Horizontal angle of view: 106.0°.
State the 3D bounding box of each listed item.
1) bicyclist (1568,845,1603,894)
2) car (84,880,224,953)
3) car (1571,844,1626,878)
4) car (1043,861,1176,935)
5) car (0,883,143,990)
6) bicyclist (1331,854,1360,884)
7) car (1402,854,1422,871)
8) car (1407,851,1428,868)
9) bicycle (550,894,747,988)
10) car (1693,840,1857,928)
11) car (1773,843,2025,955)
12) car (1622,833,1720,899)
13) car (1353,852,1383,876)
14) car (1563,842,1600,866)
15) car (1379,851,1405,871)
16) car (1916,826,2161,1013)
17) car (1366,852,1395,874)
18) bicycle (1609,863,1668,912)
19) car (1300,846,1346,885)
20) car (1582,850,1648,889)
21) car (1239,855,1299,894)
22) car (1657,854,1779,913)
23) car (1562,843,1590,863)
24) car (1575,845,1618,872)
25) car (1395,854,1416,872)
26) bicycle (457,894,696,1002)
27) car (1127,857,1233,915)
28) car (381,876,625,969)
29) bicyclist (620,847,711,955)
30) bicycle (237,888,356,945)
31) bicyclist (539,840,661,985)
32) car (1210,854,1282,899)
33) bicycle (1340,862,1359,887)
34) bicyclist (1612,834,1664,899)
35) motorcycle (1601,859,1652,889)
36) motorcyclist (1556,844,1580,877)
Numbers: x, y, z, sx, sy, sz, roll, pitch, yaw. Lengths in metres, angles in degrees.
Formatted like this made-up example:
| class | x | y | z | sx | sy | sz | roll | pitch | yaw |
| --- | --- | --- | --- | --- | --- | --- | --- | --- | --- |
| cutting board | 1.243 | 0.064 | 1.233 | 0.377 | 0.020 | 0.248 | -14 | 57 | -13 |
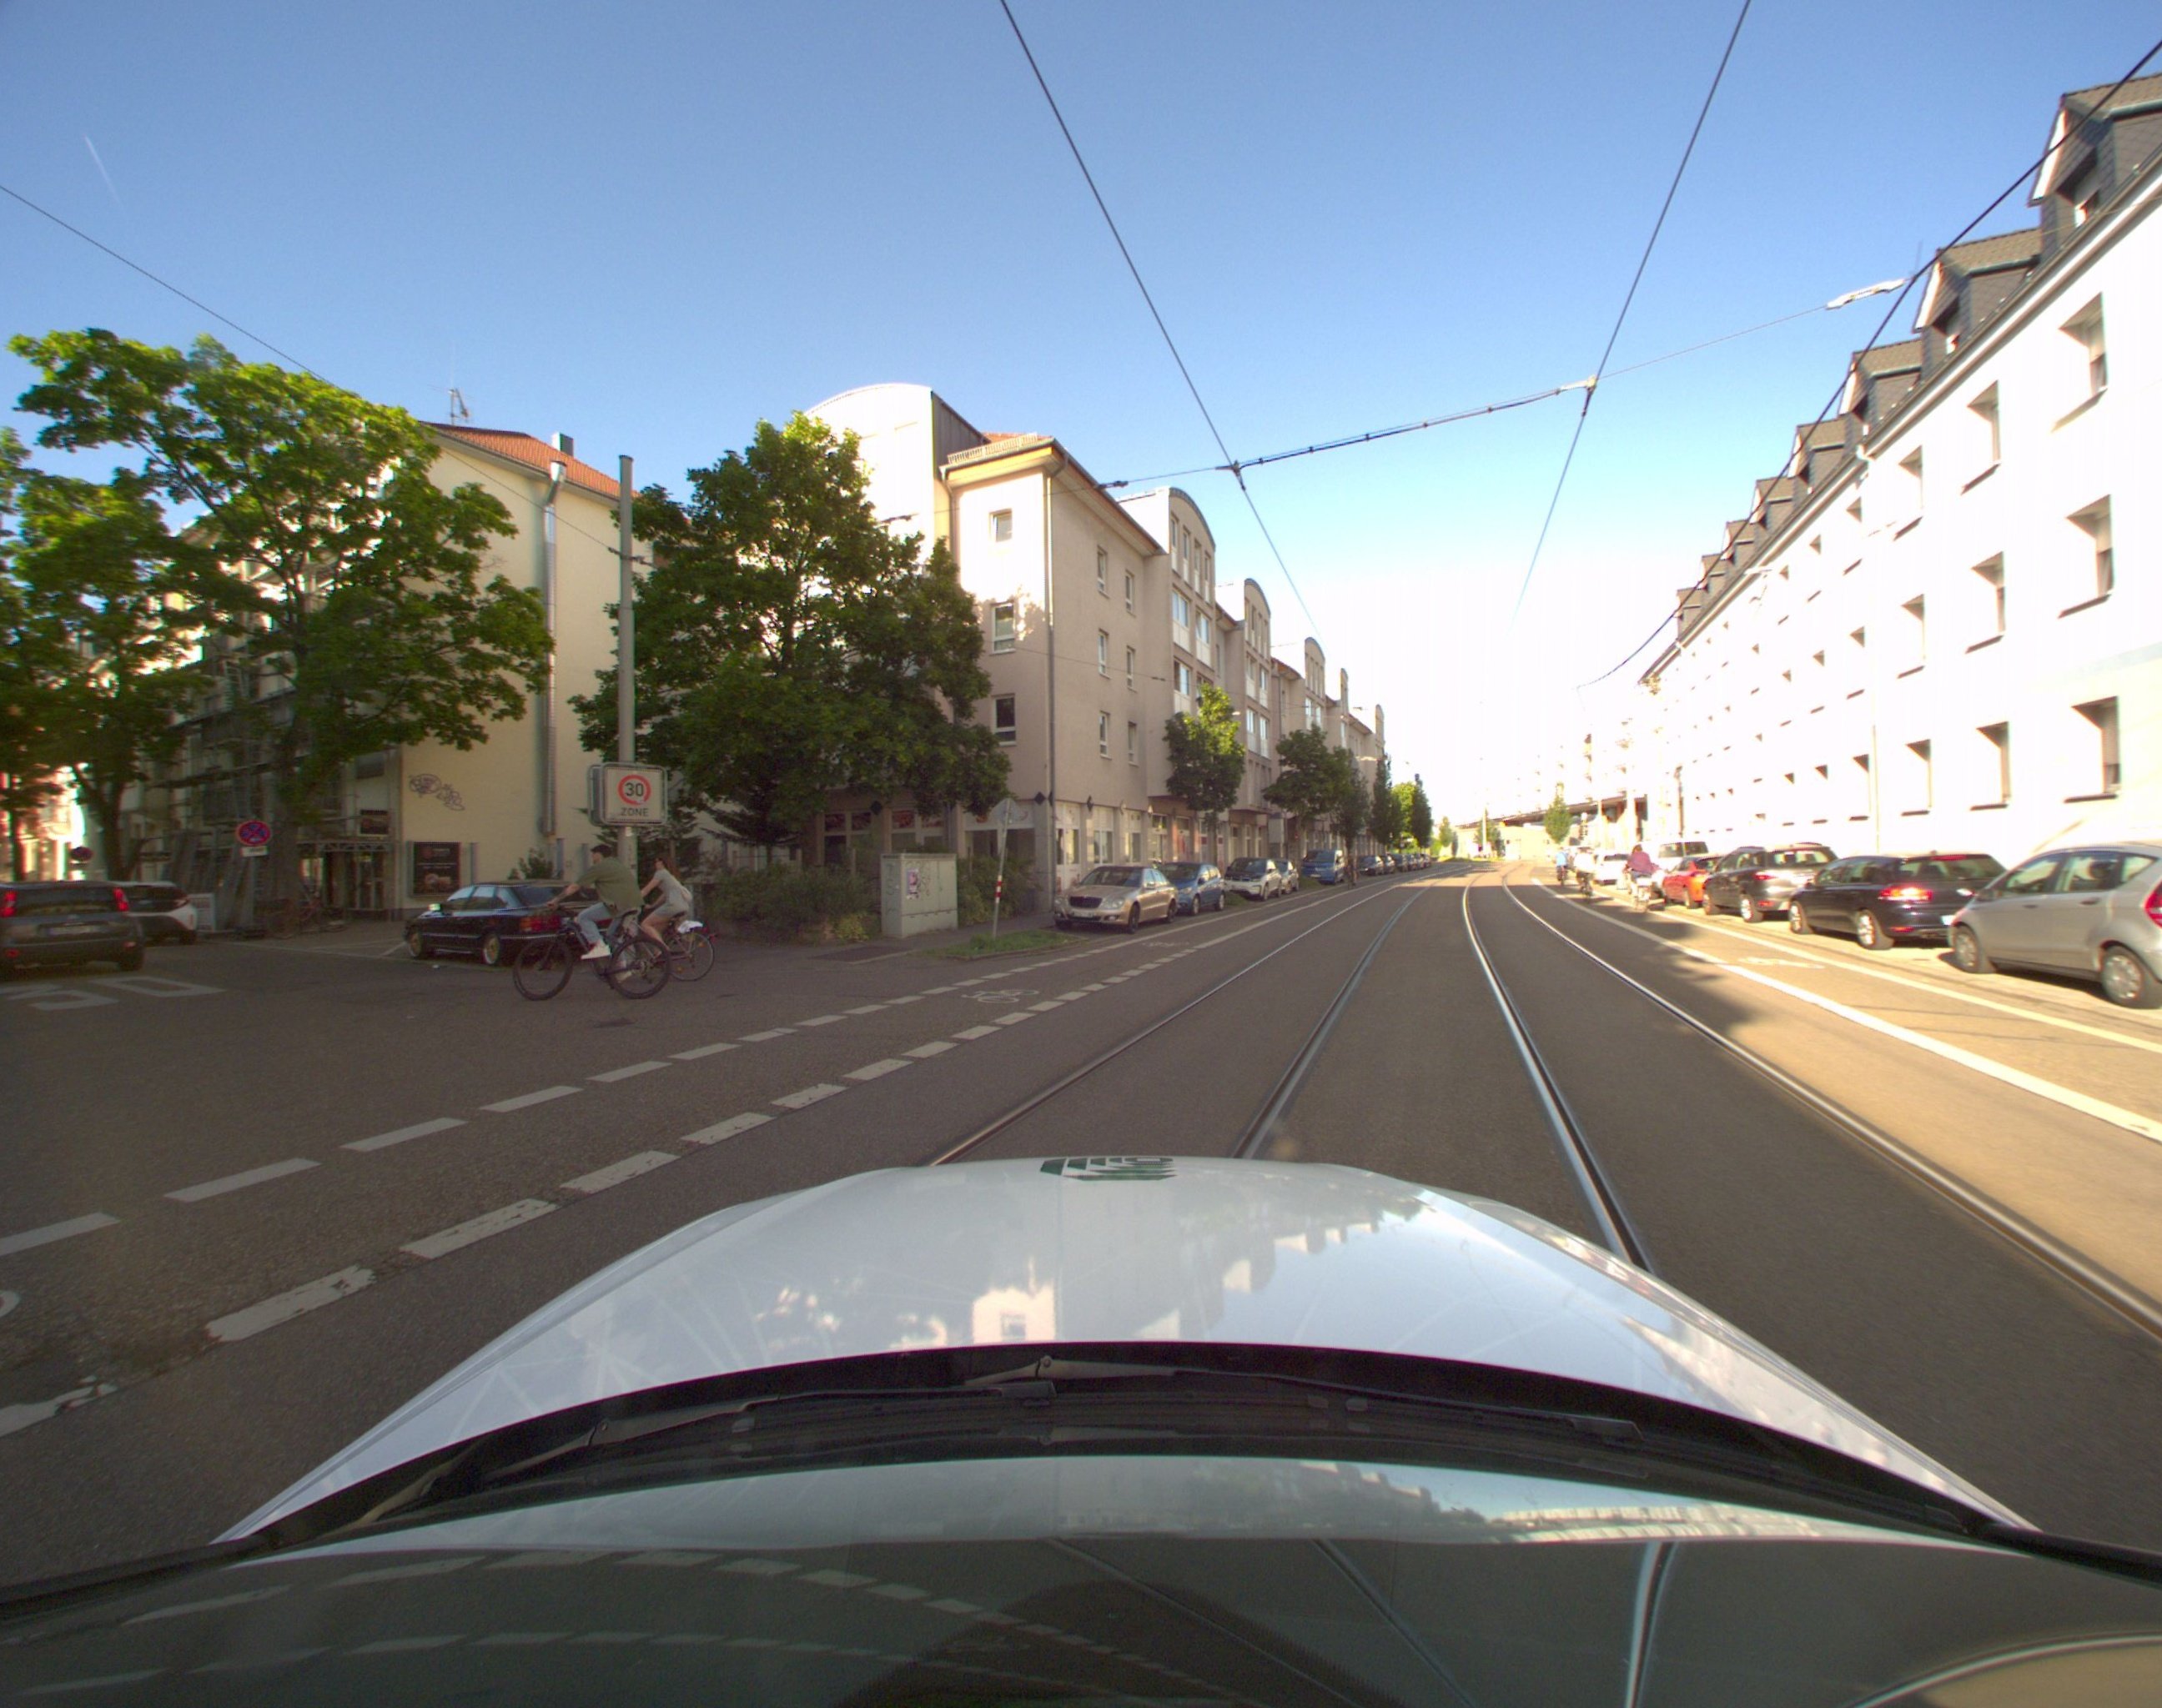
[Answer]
| class | x | y | z | sx | sy | sz | roll | pitch | yaw |
| --- | --- | --- | --- | --- | --- | --- | --- | --- | --- |
| bicyclist | 15.291 | 0.455 | 24.728 | 0.721 | 1.462 | 1.026 | -1 | 0 | 23 |
| car | -22.325 | 1.452 | 19.598 | 3.359 | 1.545 | 1.691 | -2 | 0 | 32 |
| car | 26.553 | 0.364 | 41.919 | 1.827 | 1.646 | 3.984 | -1 | 0 | 24 |
| car | 0.785 | 0.927 | 18.984 | 1.729 | 1.443 | 4.022 | 1 | 1 | 23 |
| car | -17.090 | 1.284 | 13.380 | 3.442 | 1.533 | 1.571 | -2 | -1 | 30 |
| bicyclist | 12.276 | 0.686 | 37.769 | 1.173 | 1.330 | 1.101 | -1 | -1 | 21 |
| car | 31.989 | 0.842 | 78.663 | 1.577 | 1.540 | 3.209 | -1 | 0 | 24 |
| car | 34.688 | 0.535 | 83.901 | 1.827 | 1.646 | 3.718 | -1 | 0 | 24 |
| bicycle | -5.900 | 1.166 | 11.233 | 2.223 | 1.149 | 0.839 | -1 | -3 | -8 |
| car | 15.301 | 0.601 | 18.206 | 1.645 | 1.670 | 3.926 | -5 | -2 | 24 |
| car | 13.177 | 0.651 | 13.453 | 1.577 | 1.537 | 4.030 | -4 | -1 | 25 |
| car | 19.582 | 0.377 | 27.217 | 1.770 | 1.971 | 4.178 | -3 | -1 | 25 |
| car | 20.597 | 0.694 | 58.415 | 1.650 | 1.618 | 4.023 | -1 | 0 | 25 |
| car | 38.354 | -0.021 | 62.516 | 1.827 | 1.756 | 4.574 | -1 | 0 | 24 |
| car | 27.250 | 0.595 | 71.193 | 1.827 | 1.646 | 4.574 | -1 | 0 | 24 |
| car | 11.144 | 0.543 | 8.675 | 1.738 | 1.571 | 3.926 | -5 | -2 | 25 |
| car | 23.509 | 0.659 | 63.823 | 1.827 | 1.646 | 4.574 | -1 | 0 | 24 |
| bicycle | 14.784 | 0.882 | 21.666 | 0.813 | 1.237 | 2.475 | 0 | -2 | 23 |
| car | 13.270 | 0.589 | 44.491 | 1.649 | 1.986 | 4.368 | -1 | 0 | 26 |
| car | 24.463 | 0.663 | 37.488 | 1.827 | 1.646 | 4.574 | -1 | 0 | 24 |
| car | 8.346 | 0.860 | 35.909 | 1.813 | 1.593 | 4.022 | -1 | 0 | 23 |
| car | 17.484 | 0.761 | 22.552 | 1.779 | 1.483 | 3.800 | -1 | -1 | 24 |
| car | 43.201 | -0.090 | 71.139 | 1.827 | 1.646 | 4.238 | -1 | 0 | 27 |
| car | 33.638 | 0.282 | 53.234 | 1.827 | 1.646 | 3.987 | -1 | 0 | 24 |
| car | 29.798 | 0.838 | 74.702 | 1.577 | 1.540 | 3.209 | -1 | 0 | 24 |
| bicycle | -5.870 | 1.075 | 9.618 | 2.224 | 1.149 | 0.839 | 1 | 0 | -8 |
| car | 3.044 | 0.895 | 24.394 | 1.812 | 1.489 | 4.024 | -4 | -1 | 27 |
| car | -10.287 | 1.139 | 14.422 | 4.511 | 1.388 | 1.724 | -2 | -1 | 29 |
| bicyclist | -5.735 | 0.643 | 11.275 | 0.864 | 1.380 | 0.623 | -5 | -2 | -7 |
| bicycle | -19.282 | 1.505 | 20.096 | 0.719 | 1.165 | 1.994 | -1 | 2 | 13 |
| bicyclist | -5.638 | 0.666 | 9.607 | 0.864 | 1.561 | 0.883 | -4 | -2 | -5 |
| car | 6.505 | 0.841 | 31.768 | 1.813 | 1.593 | 4.023 | -1 | 0 | 25 |
| bicycle | 12.480 | 0.931 | 37.793 | 0.617 | 1.101 | 1.971 | -3 | -1 | 23 |
| bicyclist | 14.722 | 0.337 | 21.562 | 0.926 | 1.676 | 0.975 | -1 | 0 | 22 |
| motorcycle | 21.602 | 0.776 | 32.299 | 0.491 | 1.144 | 1.761 | -1 | 0 | -16 |
| motorcyclist | 21.272 | 0.291 | 35.566 | 0.721 | 1.405 | 1.026 | -1 | 0 | 23 |
